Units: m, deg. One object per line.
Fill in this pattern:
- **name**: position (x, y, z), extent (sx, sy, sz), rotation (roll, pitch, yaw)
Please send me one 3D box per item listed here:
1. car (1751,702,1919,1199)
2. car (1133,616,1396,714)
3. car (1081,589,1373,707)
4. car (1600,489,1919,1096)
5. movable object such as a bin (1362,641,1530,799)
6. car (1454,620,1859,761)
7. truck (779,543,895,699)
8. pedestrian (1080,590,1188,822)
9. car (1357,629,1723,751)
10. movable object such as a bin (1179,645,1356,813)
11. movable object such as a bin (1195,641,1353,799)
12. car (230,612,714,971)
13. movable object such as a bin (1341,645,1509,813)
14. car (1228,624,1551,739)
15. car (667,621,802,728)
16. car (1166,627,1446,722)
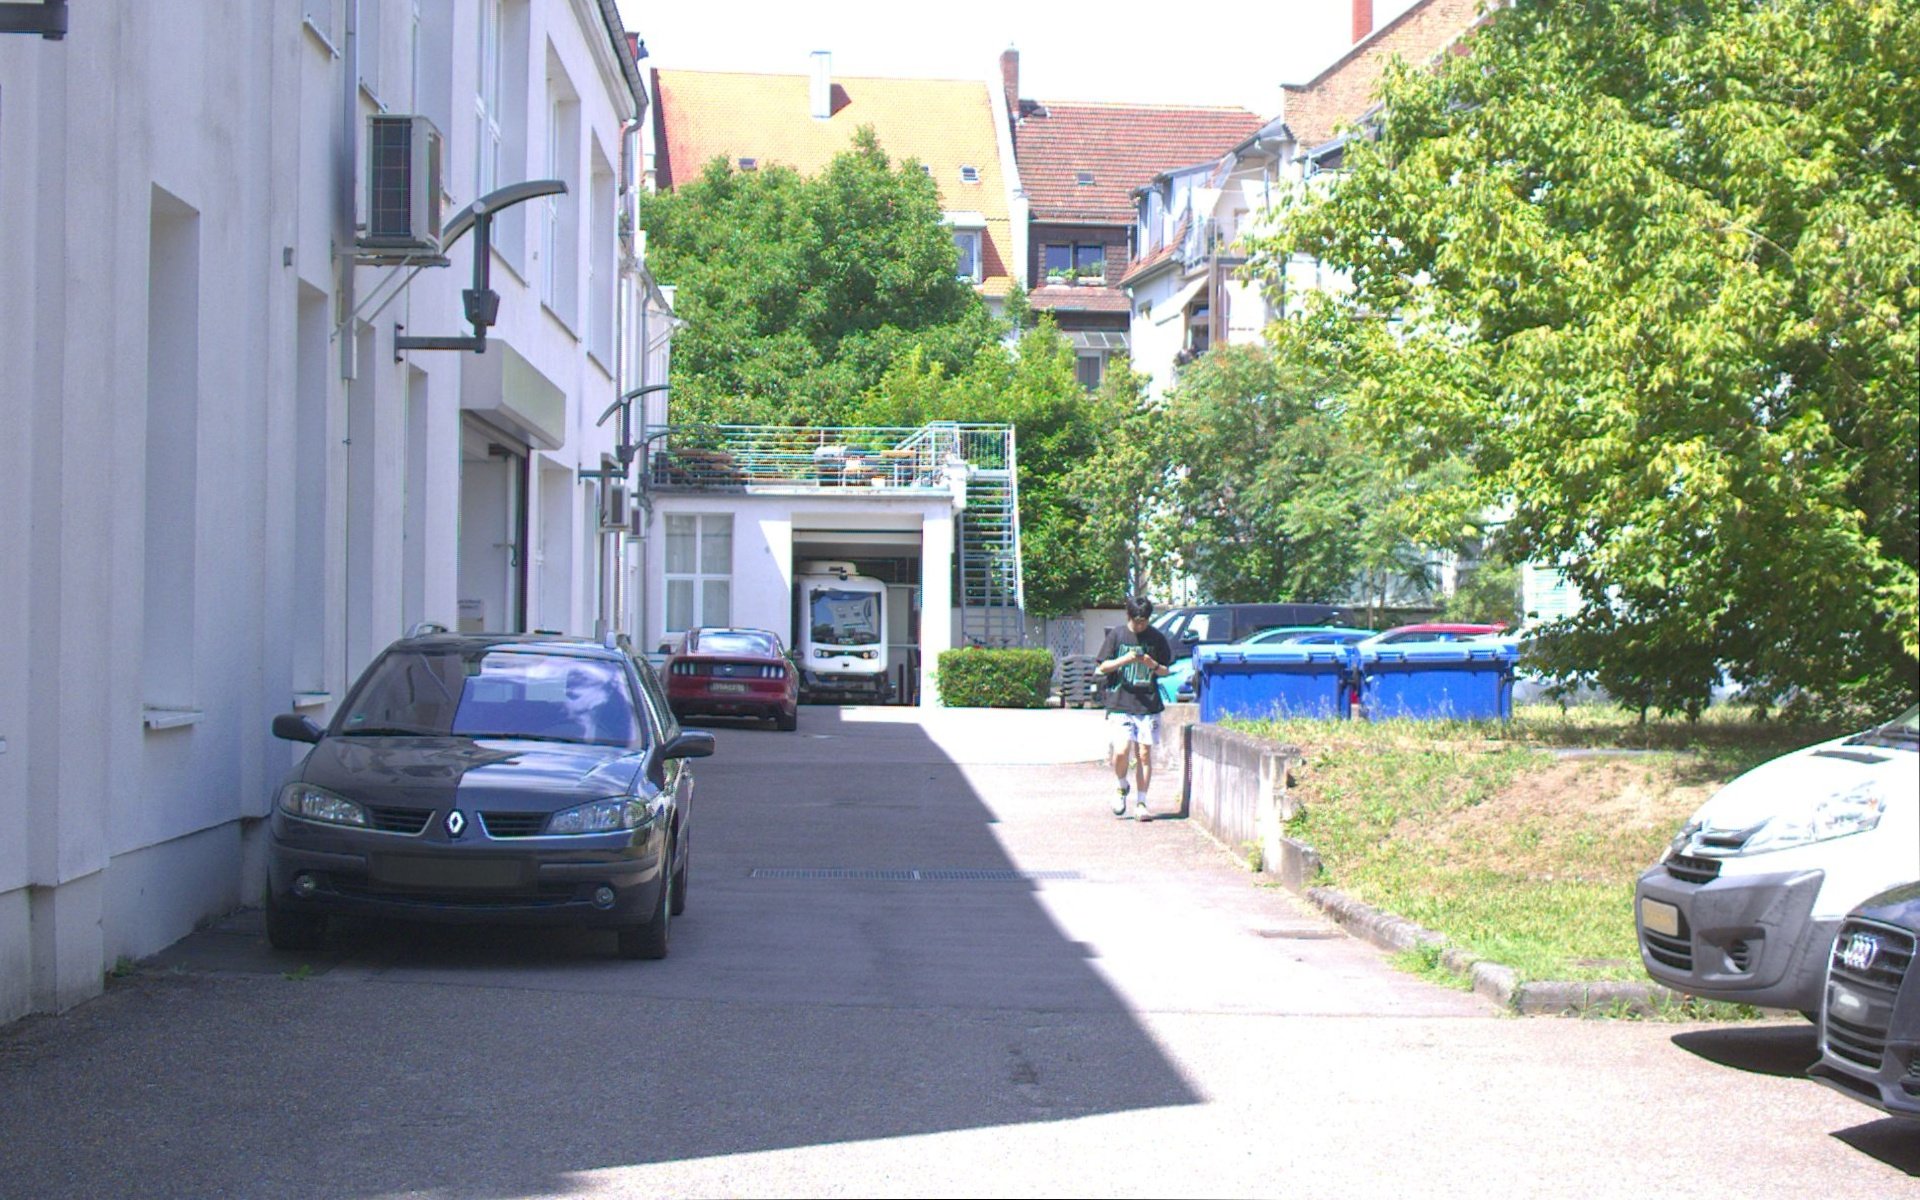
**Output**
- **car**: position (4.792, 1.029, 9.788), extent (4.611, 1.347, 1.834), rotation (1, 0, -2)
- **car**: position (4.868, 1.033, 55.354), extent (3.986, 1.529, 1.805), rotation (0, 0, -4)
- **car**: position (4.499, 0.805, 58.385), extent (4.677, 1.951, 2.077), rotation (0, 0, -4)
- **car**: position (4.922, 0.677, 12.482), extent (4.759, 2.007, 2.000), rotation (1, -1, -2)
- **movable object such as a bin**: position (4.205, 1.030, 29.830), extent (1.216, 1.322, 1.160), rotation (0, 0, -4)
- **car**: position (7.549, 0.969, 37.504), extent (3.986, 1.473, 1.805), rotation (0, 0, -4)
- **truck**: position (-2.436, 0.405, 67.204), extent (1.787, 2.927, 4.654), rotation (1, 0, -7)
- **pedestrian**: position (1.336, 0.806, 26.483), extent (0.757, 1.749, 0.751), rotation (1, 0, -1)
- **car**: position (6.872, 1.062, 40.998), extent (3.986, 1.385, 1.805), rotation (0, 0, -4)
- **movable object such as a bin**: position (2.494, 1.041, 28.080), extent (1.339, 1.322, 1.160), rotation (0, 0, 0)
- **movable object such as a bin**: position (2.714, 1.029, 29.830), extent (1.192, 1.322, 1.160), rotation (0, 0, -4)
- **car**: position (-2.178, 0.801, 16.435), extent (1.754, 1.425, 4.386), rotation (1, 0, -1)
- **movable object such as a bin**: position (3.789, 1.040, 28.143), extent (1.216, 1.322, 1.160), rotation (0, 0, 0)
- **car**: position (5.679, 1.073, 45.753), extent (3.986, 1.473, 1.805), rotation (0, 0, -4)
- **car**: position (-3.128, 1.011, 48.117), extent (1.798, 1.385, 4.000), rotation (0, 0, -3)
- **car**: position (5.244, 1.127, 52.384), extent (3.986, 1.385, 1.805), rotation (0, 0, -4)
